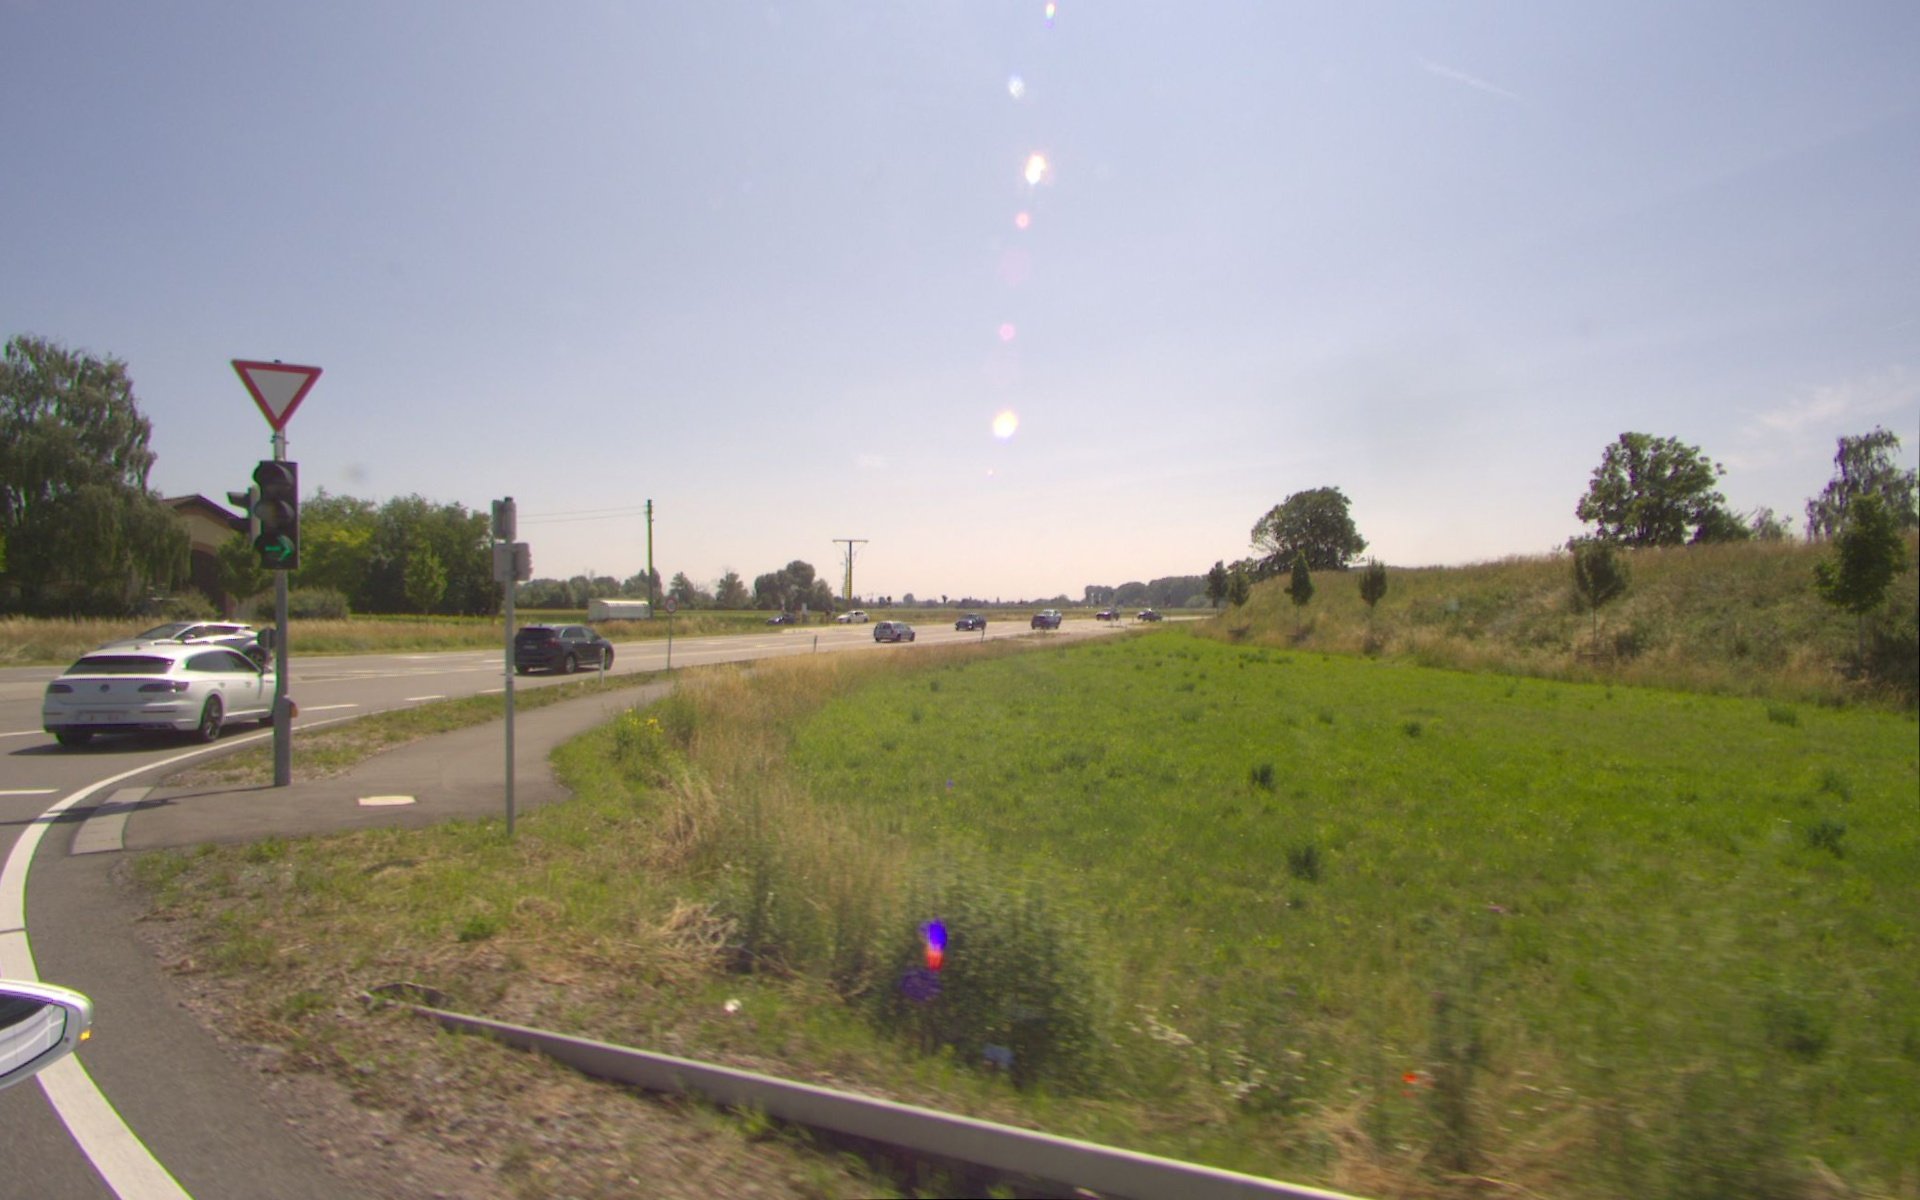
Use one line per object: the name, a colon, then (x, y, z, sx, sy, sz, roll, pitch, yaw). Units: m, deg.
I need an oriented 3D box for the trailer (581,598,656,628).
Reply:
trailer: (-29.753, 1.132, 87.516, 2.641, 2.488, 6.365, 1, 0, 23)

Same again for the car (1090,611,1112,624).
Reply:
car: (19.387, 2.456, 137.496, 2.051, 1.746, 4.404, -1, -2, 23)

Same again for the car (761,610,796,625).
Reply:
car: (-18.918, 1.845, 104.626, 1.652, 1.405, 3.825, 2, -1, 27)

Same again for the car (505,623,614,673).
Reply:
car: (-13.953, 1.653, 35.180, 1.903, 1.637, 4.380, 0, -2, 3)

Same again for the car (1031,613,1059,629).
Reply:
car: (8.697, 2.176, 102.121, 1.774, 1.495, 4.407, -1, -2, 20)

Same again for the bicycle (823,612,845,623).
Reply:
bicycle: (-16.118, 2.286, 128.180, 2.566, 1.389, 0.902, -1, -2, 8)

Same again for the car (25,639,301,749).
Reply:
car: (-12.183, 1.355, 15.743, 1.821, 1.451, 4.601, 1, -3, -17)

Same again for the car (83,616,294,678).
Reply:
car: (-22.122, 1.278, 28.943, 1.839, 1.564, 4.540, 1, 0, 22)

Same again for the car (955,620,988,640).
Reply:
car: (1.093, 2.818, 94.666, 1.839, 1.672, 4.318, 1, 0, 20)

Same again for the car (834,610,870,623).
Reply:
car: (-12.560, 1.903, 116.665, 3.998, 1.349, 1.680, 2, 0, -43)

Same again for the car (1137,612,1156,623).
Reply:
car: (25.668, 2.423, 137.695, 1.775, 1.541, 3.874, -2, -2, 22)

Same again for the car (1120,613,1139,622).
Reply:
car: (26.544, 2.793, 156.892, 2.050, 1.344, 4.406, -1, -2, 22)

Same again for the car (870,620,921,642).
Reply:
car: (-4.513, 2.217, 70.092, 1.777, 1.446, 4.080, -2, -3, 26)
